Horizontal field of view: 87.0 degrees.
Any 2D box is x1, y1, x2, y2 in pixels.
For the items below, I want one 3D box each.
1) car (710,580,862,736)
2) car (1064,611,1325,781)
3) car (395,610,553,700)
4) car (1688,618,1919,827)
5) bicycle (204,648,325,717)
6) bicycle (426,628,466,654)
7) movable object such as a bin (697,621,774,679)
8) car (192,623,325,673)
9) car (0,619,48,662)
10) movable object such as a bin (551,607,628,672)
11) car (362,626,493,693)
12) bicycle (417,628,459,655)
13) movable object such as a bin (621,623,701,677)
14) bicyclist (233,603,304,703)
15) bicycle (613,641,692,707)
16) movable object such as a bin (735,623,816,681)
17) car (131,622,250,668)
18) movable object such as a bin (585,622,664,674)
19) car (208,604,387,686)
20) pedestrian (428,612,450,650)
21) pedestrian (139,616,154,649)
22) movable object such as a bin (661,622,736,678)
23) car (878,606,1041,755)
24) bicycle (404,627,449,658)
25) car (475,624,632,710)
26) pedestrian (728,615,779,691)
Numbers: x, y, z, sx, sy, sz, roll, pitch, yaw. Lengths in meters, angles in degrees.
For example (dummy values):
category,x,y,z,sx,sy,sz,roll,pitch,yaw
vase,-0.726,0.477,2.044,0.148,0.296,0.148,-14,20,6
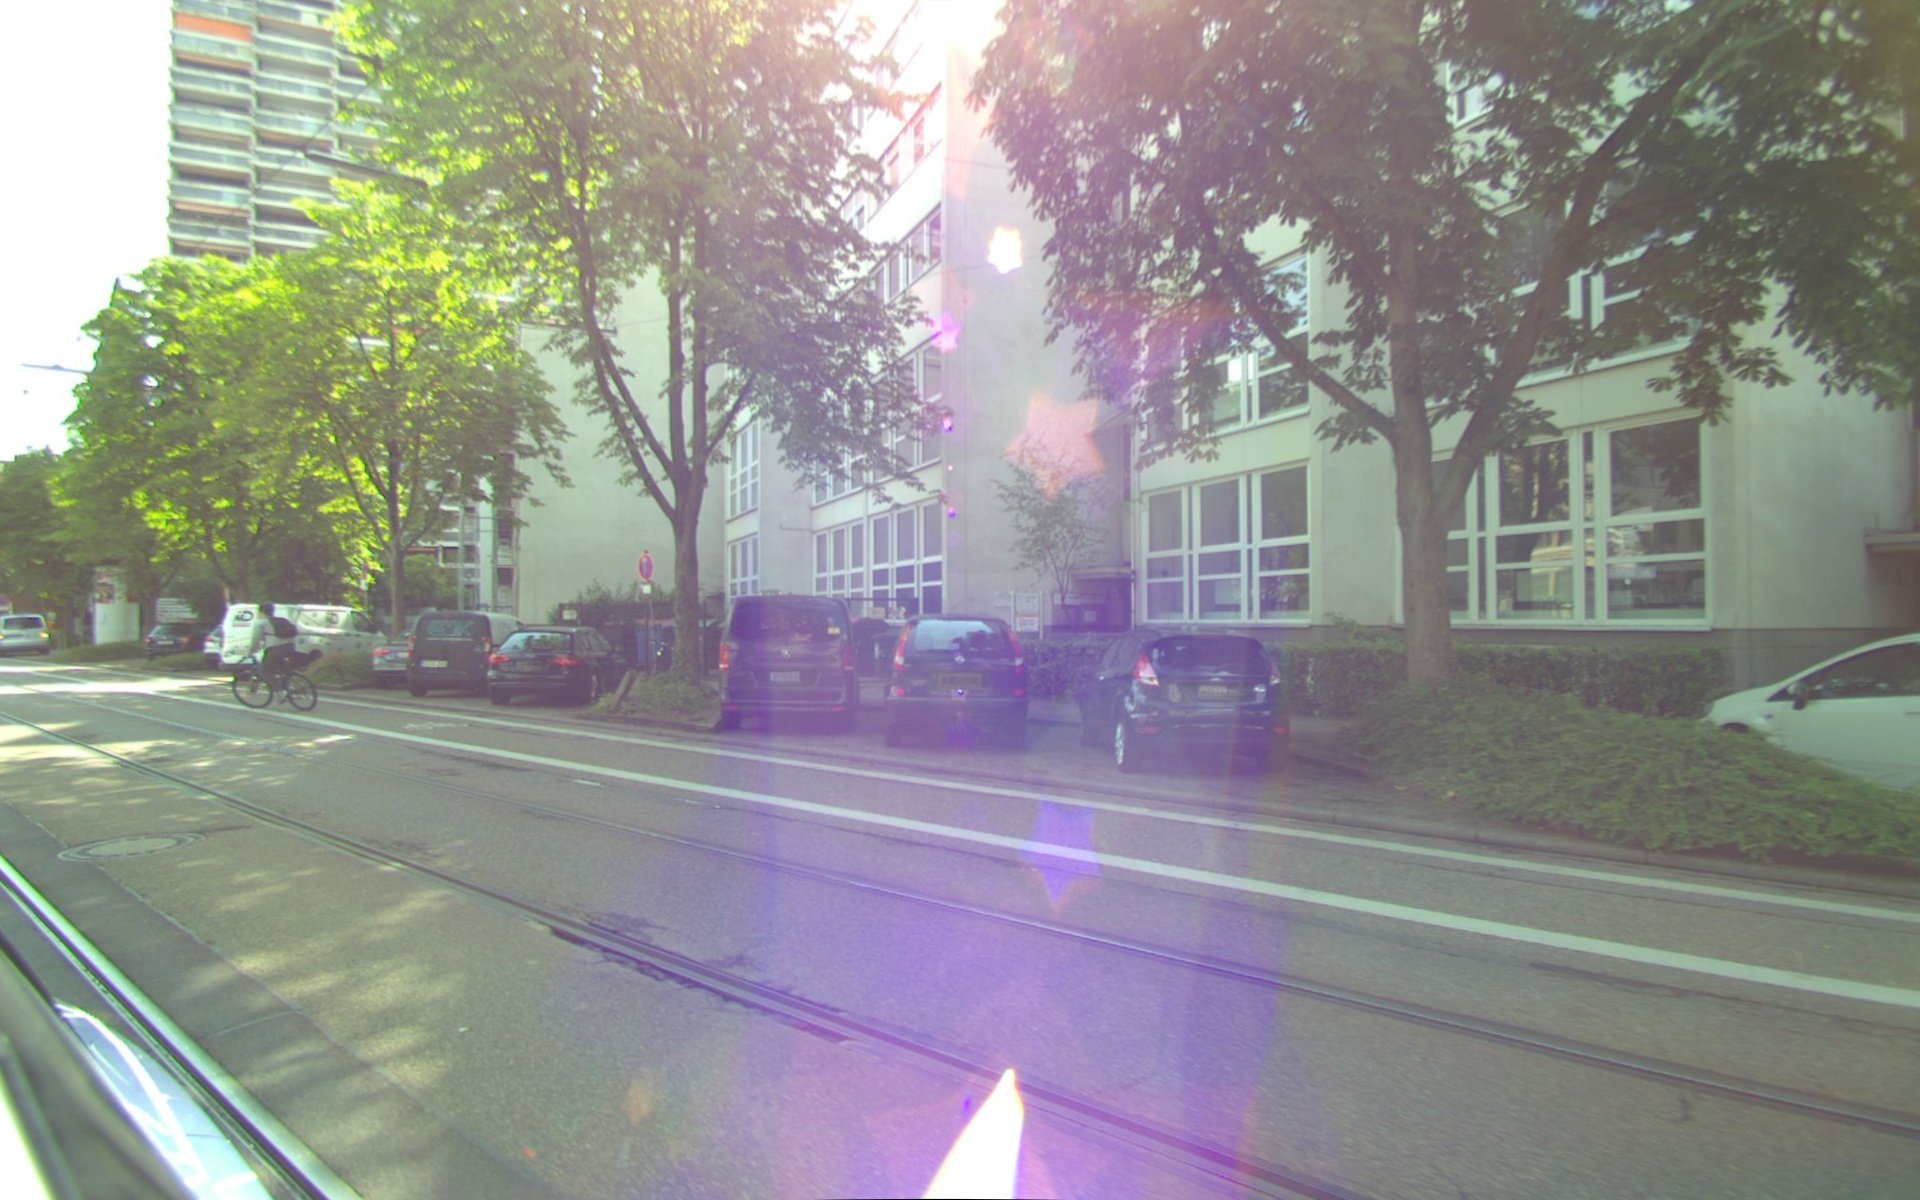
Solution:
category,x,y,z,sx,sy,sz,roll,pitch,yaw
car,-2.541,0.880,15.619,1.887,1.969,5.175,1,-3,-7
car,2.329,0.966,11.120,1.715,1.495,4.002,1,-3,-3
car,-10.100,1.148,21.354,1.734,1.706,3.718,1,-3,-4
car,7.714,0.905,7.438,1.671,1.495,3.812,1,-3,-6
bicycle,-11.415,1.328,16.603,1.987,1.048,0.652,0,-2,23
bicycle,-22.372,1.790,44.056,1.553,1.089,0.544,0,-4,-27
movable object such as a bin,-5.449,1.213,24.580,1.440,1.337,1.152,-1,-4,38
car,-22.591,1.509,32.795,1.794,1.512,4.199,0,-1,-7
car,-45.322,1.896,48.429,4.232,1.865,1.869,-1,2,39
movable object such as a bin,-10.666,1.137,29.136,1.536,1.795,1.375,-1,-4,35
car,-12.469,1.396,23.967,1.694,1.428,4.009,2,-3,-12
bicycle,-22.210,1.758,43.082,1.553,1.101,0.544,0,-4,-27
movable object such as a bin,-7.982,1.335,27.038,1.536,1.374,1.375,-1,-4,35
bicyclist,-11.334,0.854,16.591,0.737,1.588,0.638,0,-2,23
bicycle,-5.658,1.337,18.735,0.577,1.127,1.995,0,-2,9
movable object such as a bin,-4.318,1.211,23.664,1.440,1.293,1.156,-1,-4,38
car,-27.735,1.593,36.643,1.715,1.535,3.891,0,-1,-7
movable object such as a bin,-9.295,1.327,28.046,1.536,1.374,1.375,-1,-4,35
car,-17.683,1.173,27.338,1.940,2.012,4.688,0,-1,-2
pedestrian,-22.995,1.355,44.645,0.659,1.636,0.635,0,0,31
pedestrian,-44.740,1.798,55.669,0.635,1.767,0.517,2,2,43
movable object such as a bin,-6.733,1.285,26.050,1.439,1.391,1.182,-1,-4,36
car,-0.158,0.983,13.125,1.714,1.605,4.004,1,-3,-5
bicycle,-20.941,1.671,39.767,1.553,1.171,0.544,0,-4,-27
car,-7.513,1.234,19.111,1.733,1.428,4.006,1,-3,-7
pedestrian,-4.447,1.121,21.765,0.880,1.588,0.637,-1,-2,36
